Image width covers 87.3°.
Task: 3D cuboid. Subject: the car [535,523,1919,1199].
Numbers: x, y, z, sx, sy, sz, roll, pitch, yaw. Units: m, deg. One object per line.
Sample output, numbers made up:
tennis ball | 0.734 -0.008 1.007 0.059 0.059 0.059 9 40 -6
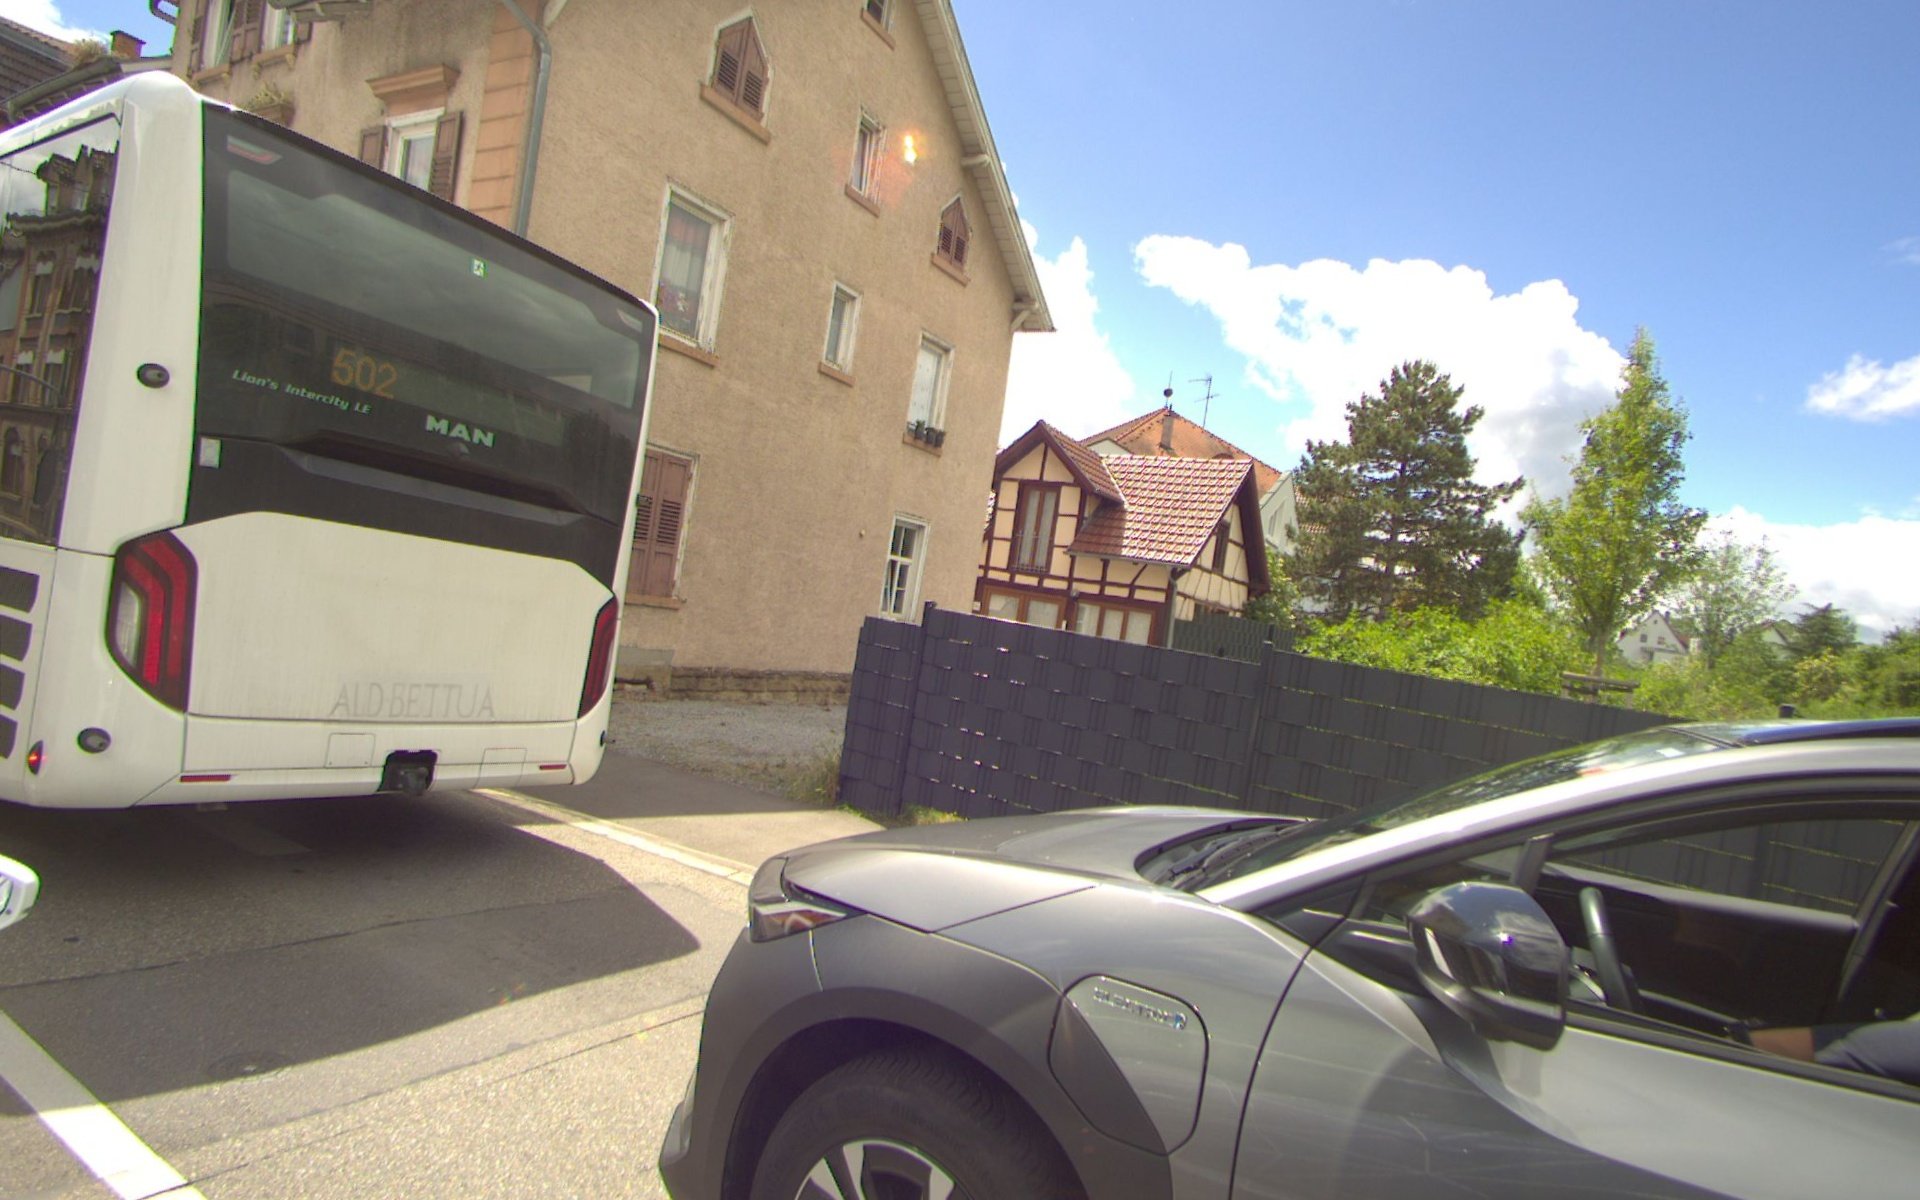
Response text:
car | 1.564 0.961 1.889 4.504 1.648 1.997 7 -1 31

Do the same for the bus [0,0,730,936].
bus | -7.470 -1.063 7.783 12.281 3.551 2.910 6 -2 32
